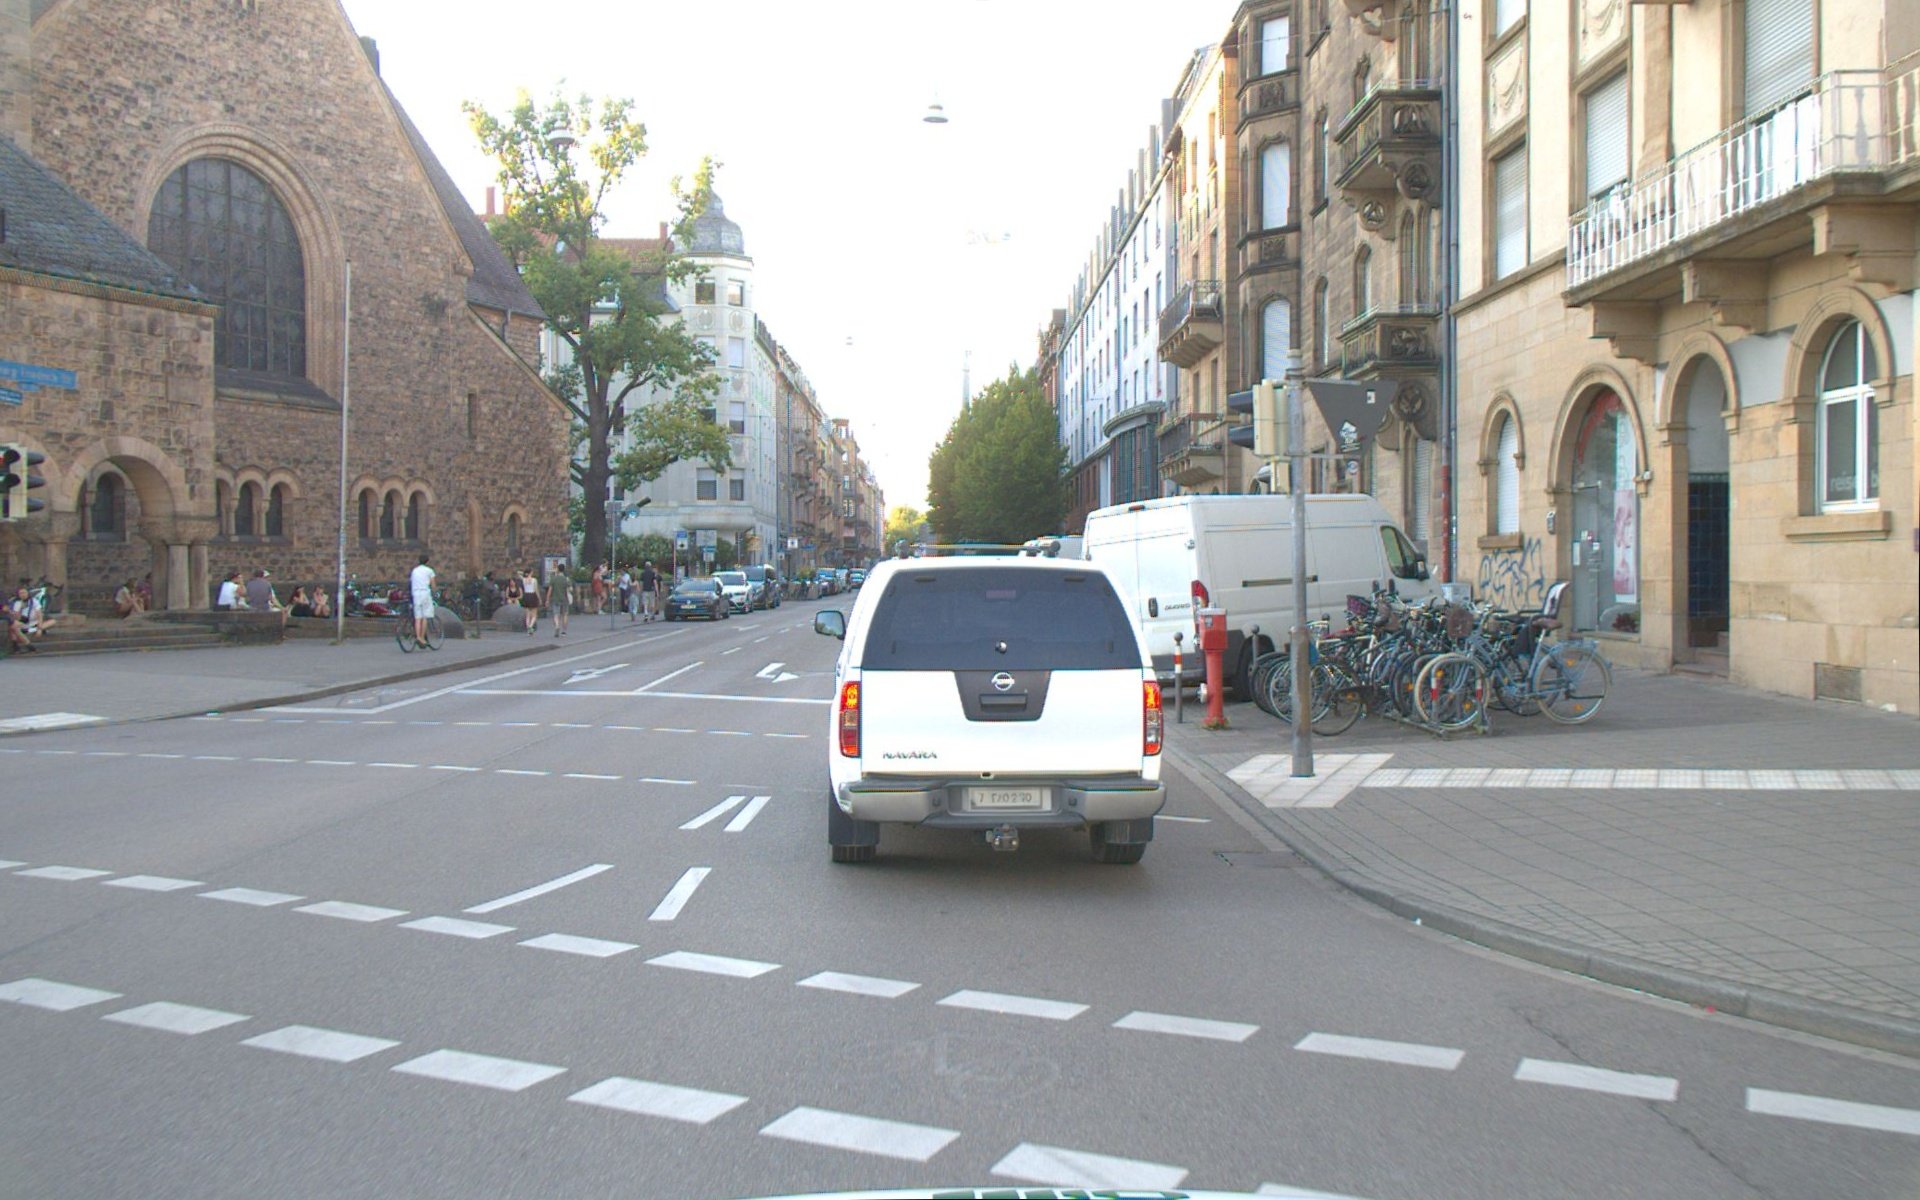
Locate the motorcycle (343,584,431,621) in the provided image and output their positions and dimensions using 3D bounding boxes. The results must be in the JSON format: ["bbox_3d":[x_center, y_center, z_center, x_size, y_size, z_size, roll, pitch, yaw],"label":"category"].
[{"bbox_3d":[-15.930,0.063,46.042,2.200,1.005,0.707,0,0,-5],"label":"motorcycle"}]

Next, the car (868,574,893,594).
[{"bbox_3d":[-6.365,-1.258,132.141,1.820,1.555,4.000,1,1,0],"label":"car"}]

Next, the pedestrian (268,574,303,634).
[{"bbox_3d":[-14.406,0.081,35.337,0.468,1.267,0.523,1,0,18],"label":"pedestrian"}]

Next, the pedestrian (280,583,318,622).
[{"bbox_3d":[-16.478,0.059,41.209,0.540,0.977,0.709,1,0,21],"label":"pedestrian"}]

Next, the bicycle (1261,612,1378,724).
[{"bbox_3d":[3.591,0.676,16.542,1.055,1.042,0.317,-4,0,-2],"label":"bicycle"}]

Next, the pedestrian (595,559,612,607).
[{"bbox_3d":[-12.880,-0.626,59.759,0.549,1.725,0.644,0,0,-7],"label":"pedestrian"}]

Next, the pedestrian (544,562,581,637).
[{"bbox_3d":[-10.240,-0.017,42.630,0.796,1.934,0.666,1,0,-2],"label":"pedestrian"}]

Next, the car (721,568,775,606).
[{"bbox_3d":[-9.134,-0.562,71.425,1.820,1.555,4.000,1,1,0],"label":"car"}]

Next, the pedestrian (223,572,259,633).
[{"bbox_3d":[-15.042,0.043,34.605,0.468,1.267,0.523,1,0,18],"label":"pedestrian"}]

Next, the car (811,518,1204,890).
[{"bbox_3d":[0.253,0.501,10.303,1.952,1.841,4.000,1,1,0],"label":"car"}]

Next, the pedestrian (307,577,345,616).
[{"bbox_3d":[-16.059,-0.097,41.897,0.540,0.977,0.709,1,0,21],"label":"pedestrian"}]

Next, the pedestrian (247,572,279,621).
[{"bbox_3d":[-14.086,-0.079,33.434,0.513,0.977,0.477,0,0,-15],"label":"pedestrian"}]

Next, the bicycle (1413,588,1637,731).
[{"bbox_3d":[5.165,0.533,15.181,1.781,1.169,0.636,-4,1,-2],"label":"bicycle"}]

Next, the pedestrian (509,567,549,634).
[{"bbox_3d":[-11.074,0.001,42.525,0.796,1.698,0.859,1,0,-2],"label":"pedestrian"}]

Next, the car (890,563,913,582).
[{"bbox_3d":[-4.941,-2.345,139.888,1.882,1.555,3.998,1,1,-2],"label":"car"}]

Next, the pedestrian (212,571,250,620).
[{"bbox_3d":[-14.764,-0.087,33.510,0.510,0.977,0.479,1,0,18],"label":"pedestrian"}]

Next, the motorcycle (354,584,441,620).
[{"bbox_3d":[-15.912,0.054,46.841,2.200,1.005,0.707,0,0,-5],"label":"motorcycle"}]

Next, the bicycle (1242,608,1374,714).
[{"bbox_3d":[3.740,0.648,17.799,1.306,1.042,0.317,-4,0,-2],"label":"bicycle"}]

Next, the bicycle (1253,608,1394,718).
[{"bbox_3d":[3.784,0.654,17.252,1.344,1.042,0.317,-4,0,-2],"label":"bicycle"}]

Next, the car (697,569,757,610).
[{"bbox_3d":[-9.103,-0.413,64.844,1.820,1.555,4.000,1,1,0],"label":"car"}]

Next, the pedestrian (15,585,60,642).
[{"bbox_3d":[-16.163,0.232,28.984,0.469,0.977,0.522,1,0,30],"label":"pedestrian"}]

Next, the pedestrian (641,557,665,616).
[{"bbox_3d":[-9.950,-0.439,53.583,0.635,1.887,0.556,0,0,-29],"label":"pedestrian"}]

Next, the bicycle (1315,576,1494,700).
[{"bbox_3d":[5.015,0.418,18.695,1.818,1.259,0.530,-4,0,-2],"label":"bicycle"}]

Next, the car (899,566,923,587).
[{"bbox_3d":[-3.824,-1.828,129.575,1.820,1.555,4.000,1,1,0],"label":"car"}]

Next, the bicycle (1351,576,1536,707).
[{"bbox_3d":[5.121,0.430,17.558,1.781,1.259,0.412,-4,0,-2],"label":"bicycle"}]

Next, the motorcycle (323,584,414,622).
[{"bbox_3d":[-16.020,0.077,44.814,2.200,1.005,0.707,0,0,-5],"label":"motorcycle"}]

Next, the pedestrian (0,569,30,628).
[{"bbox_3d":[-16.046,-0.033,27.809,0.511,0.977,0.479,1,0,20],"label":"pedestrian"}]

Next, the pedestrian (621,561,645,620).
[{"bbox_3d":[-10.546,-0.322,53.317,0.635,1.887,0.556,0,0,-29],"label":"pedestrian"}]

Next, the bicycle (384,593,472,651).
[{"bbox_3d":[-10.554,0.414,32.869,0.642,1.096,2.247,1,1,11],"label":"bicycle"}]

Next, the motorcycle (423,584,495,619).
[{"bbox_3d":[-14.893,0.037,49.122,2.120,1.005,0.594,1,0,20],"label":"motorcycle"}]

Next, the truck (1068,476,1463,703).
[{"bbox_3d":[4.146,-0.165,21.742,5.628,2.609,2.252,-1,1,-43],"label":"truck"}]

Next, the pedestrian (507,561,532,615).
[{"bbox_3d":[-14.104,-0.392,52.927,0.629,1.725,0.562,1,0,-1],"label":"pedestrian"}]

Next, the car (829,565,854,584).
[{"bbox_3d":[-9.830,-2.087,137.552,1.820,1.555,4.000,1,1,0],"label":"car"}]

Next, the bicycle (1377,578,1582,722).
[{"bbox_3d":[5.050,0.476,16.122,1.781,1.259,0.488,-4,0,-2],"label":"bicycle"}]

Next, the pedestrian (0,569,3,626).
[{"bbox_3d":[-16.654,-0.042,28.089,0.511,0.977,0.479,1,0,20],"label":"pedestrian"}]

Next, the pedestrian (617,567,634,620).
[{"bbox_3d":[-12.025,-0.246,59.467,0.549,1.887,0.644,0,0,-7],"label":"pedestrian"}]

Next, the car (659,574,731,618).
[{"bbox_3d":[-9.037,-0.164,56.649,1.820,1.422,4.000,1,1,0],"label":"car"}]

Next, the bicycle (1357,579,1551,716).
[{"bbox_3d":[5.017,0.472,16.833,1.781,1.259,0.477,-4,0,-2],"label":"bicycle"}]

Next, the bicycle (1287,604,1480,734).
[{"bbox_3d":[4.000,0.645,15.655,1.692,1.102,0.317,-4,0,-2],"label":"bicycle"}]

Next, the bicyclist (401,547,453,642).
[{"bbox_3d":[-10.563,-0.108,32.806,0.642,1.859,0.860,1,0,8],"label":"bicyclist"}]

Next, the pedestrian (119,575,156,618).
[{"bbox_3d":[-18.929,-0.080,38.056,0.541,0.977,0.709,0,0,-6],"label":"pedestrian"}]

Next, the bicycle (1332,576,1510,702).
[{"bbox_3d":[5.054,0.422,18.164,1.781,1.259,0.410,-4,0,-2],"label":"bicycle"}]

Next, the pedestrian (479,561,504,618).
[{"bbox_3d":[-14.335,-0.326,50.627,0.631,1.725,0.561,0,0,-8],"label":"pedestrian"}]

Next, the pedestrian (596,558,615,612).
[{"bbox_3d":[-12.641,-0.529,58.919,0.632,1.887,0.560,0,0,-14],"label":"pedestrian"}]
